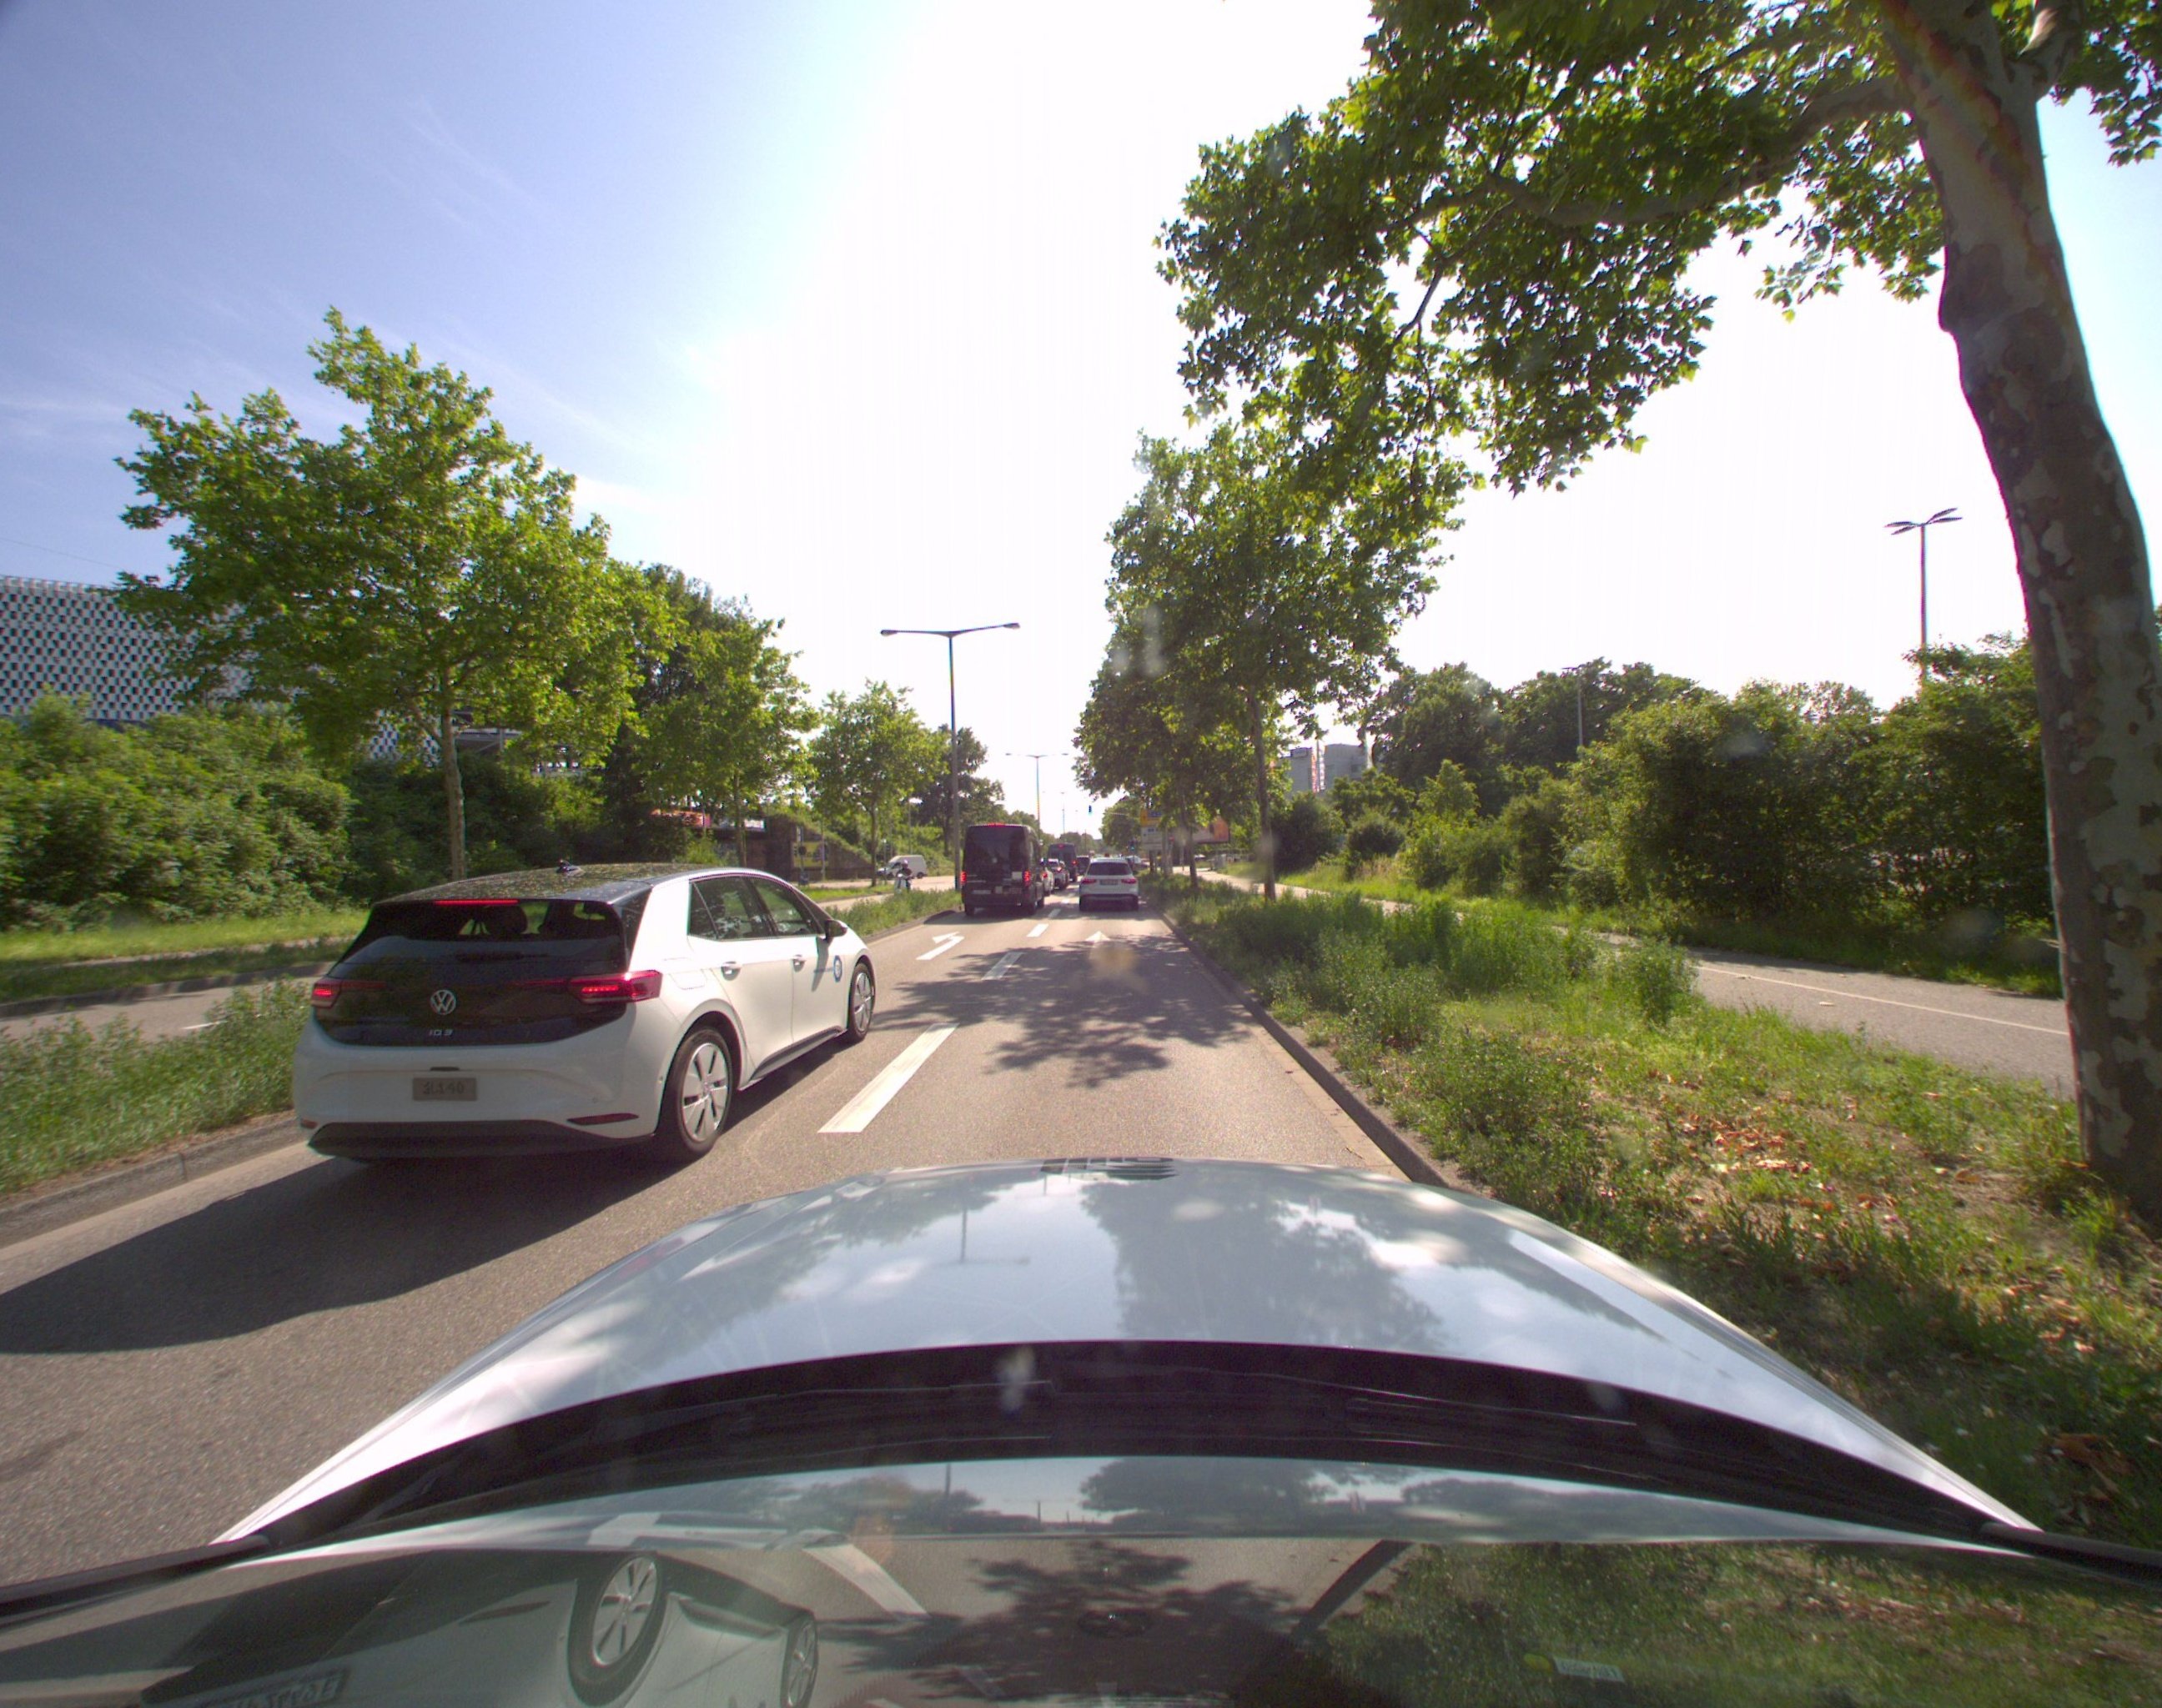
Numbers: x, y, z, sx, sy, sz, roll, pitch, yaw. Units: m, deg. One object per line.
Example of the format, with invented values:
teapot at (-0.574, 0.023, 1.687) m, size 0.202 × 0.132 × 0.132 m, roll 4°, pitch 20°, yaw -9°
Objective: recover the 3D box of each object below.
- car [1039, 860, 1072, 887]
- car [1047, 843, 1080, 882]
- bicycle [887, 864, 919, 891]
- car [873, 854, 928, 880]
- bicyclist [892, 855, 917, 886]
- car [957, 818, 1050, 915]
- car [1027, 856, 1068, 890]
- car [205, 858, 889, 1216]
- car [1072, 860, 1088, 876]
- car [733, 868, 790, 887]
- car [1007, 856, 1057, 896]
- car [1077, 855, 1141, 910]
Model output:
car at (-1.448, 1.123, 47.854) m, size 1.685 × 1.505 × 3.887 m, roll 0°, pitch 0°, yaw 2°
car at (-1.206, 0.580, 58.040) m, size 2.073 × 2.657 × 4.877 m, roll 0°, pitch -1°, yaw 2°
bicycle at (-7.032, 0.921, 32.267) m, size 0.725 × 1.029 × 2.218 m, roll 0°, pitch -1°, yaw 2°
car at (-18.127, 1.290, 81.985) m, size 5.167 × 2.418 × 1.976 m, roll 0°, pitch -1°, yaw -43°
bicyclist at (-7.020, 0.646, 32.375) m, size 0.725 × 1.191 × 1.102 m, roll 0°, pitch -1°, yaw 2°
car at (-2.202, 0.381, 25.073) m, size 2.008 × 2.607 × 6.171 m, roll -1°, pitch -1°, yaw 2°
car at (-1.661, 0.940, 42.026) m, size 1.764 × 1.647 × 4.087 m, roll -1°, pitch -1°, yaw 2°
car at (-2.810, 0.801, 5.613) m, size 1.812 × 1.521 × 4.210 m, roll -1°, pitch 0°, yaw 2°
car at (-0.078, 1.314, 77.764) m, size 1.458 × 1.404 × 3.478 m, roll -1°, pitch 0°, yaw 1°
car at (-27.350, 2.019, 69.728) m, size 4.347 × 1.426 × 1.471 m, roll -2°, pitch -1°, yaw -33°
car at (-2.120, 0.929, 36.178) m, size 1.764 × 1.647 × 4.354 m, roll -1°, pitch -1°, yaw 2°
car at (0.824, 0.863, 26.307) m, size 1.848 × 1.607 × 3.997 m, roll 0°, pitch 0°, yaw -1°
